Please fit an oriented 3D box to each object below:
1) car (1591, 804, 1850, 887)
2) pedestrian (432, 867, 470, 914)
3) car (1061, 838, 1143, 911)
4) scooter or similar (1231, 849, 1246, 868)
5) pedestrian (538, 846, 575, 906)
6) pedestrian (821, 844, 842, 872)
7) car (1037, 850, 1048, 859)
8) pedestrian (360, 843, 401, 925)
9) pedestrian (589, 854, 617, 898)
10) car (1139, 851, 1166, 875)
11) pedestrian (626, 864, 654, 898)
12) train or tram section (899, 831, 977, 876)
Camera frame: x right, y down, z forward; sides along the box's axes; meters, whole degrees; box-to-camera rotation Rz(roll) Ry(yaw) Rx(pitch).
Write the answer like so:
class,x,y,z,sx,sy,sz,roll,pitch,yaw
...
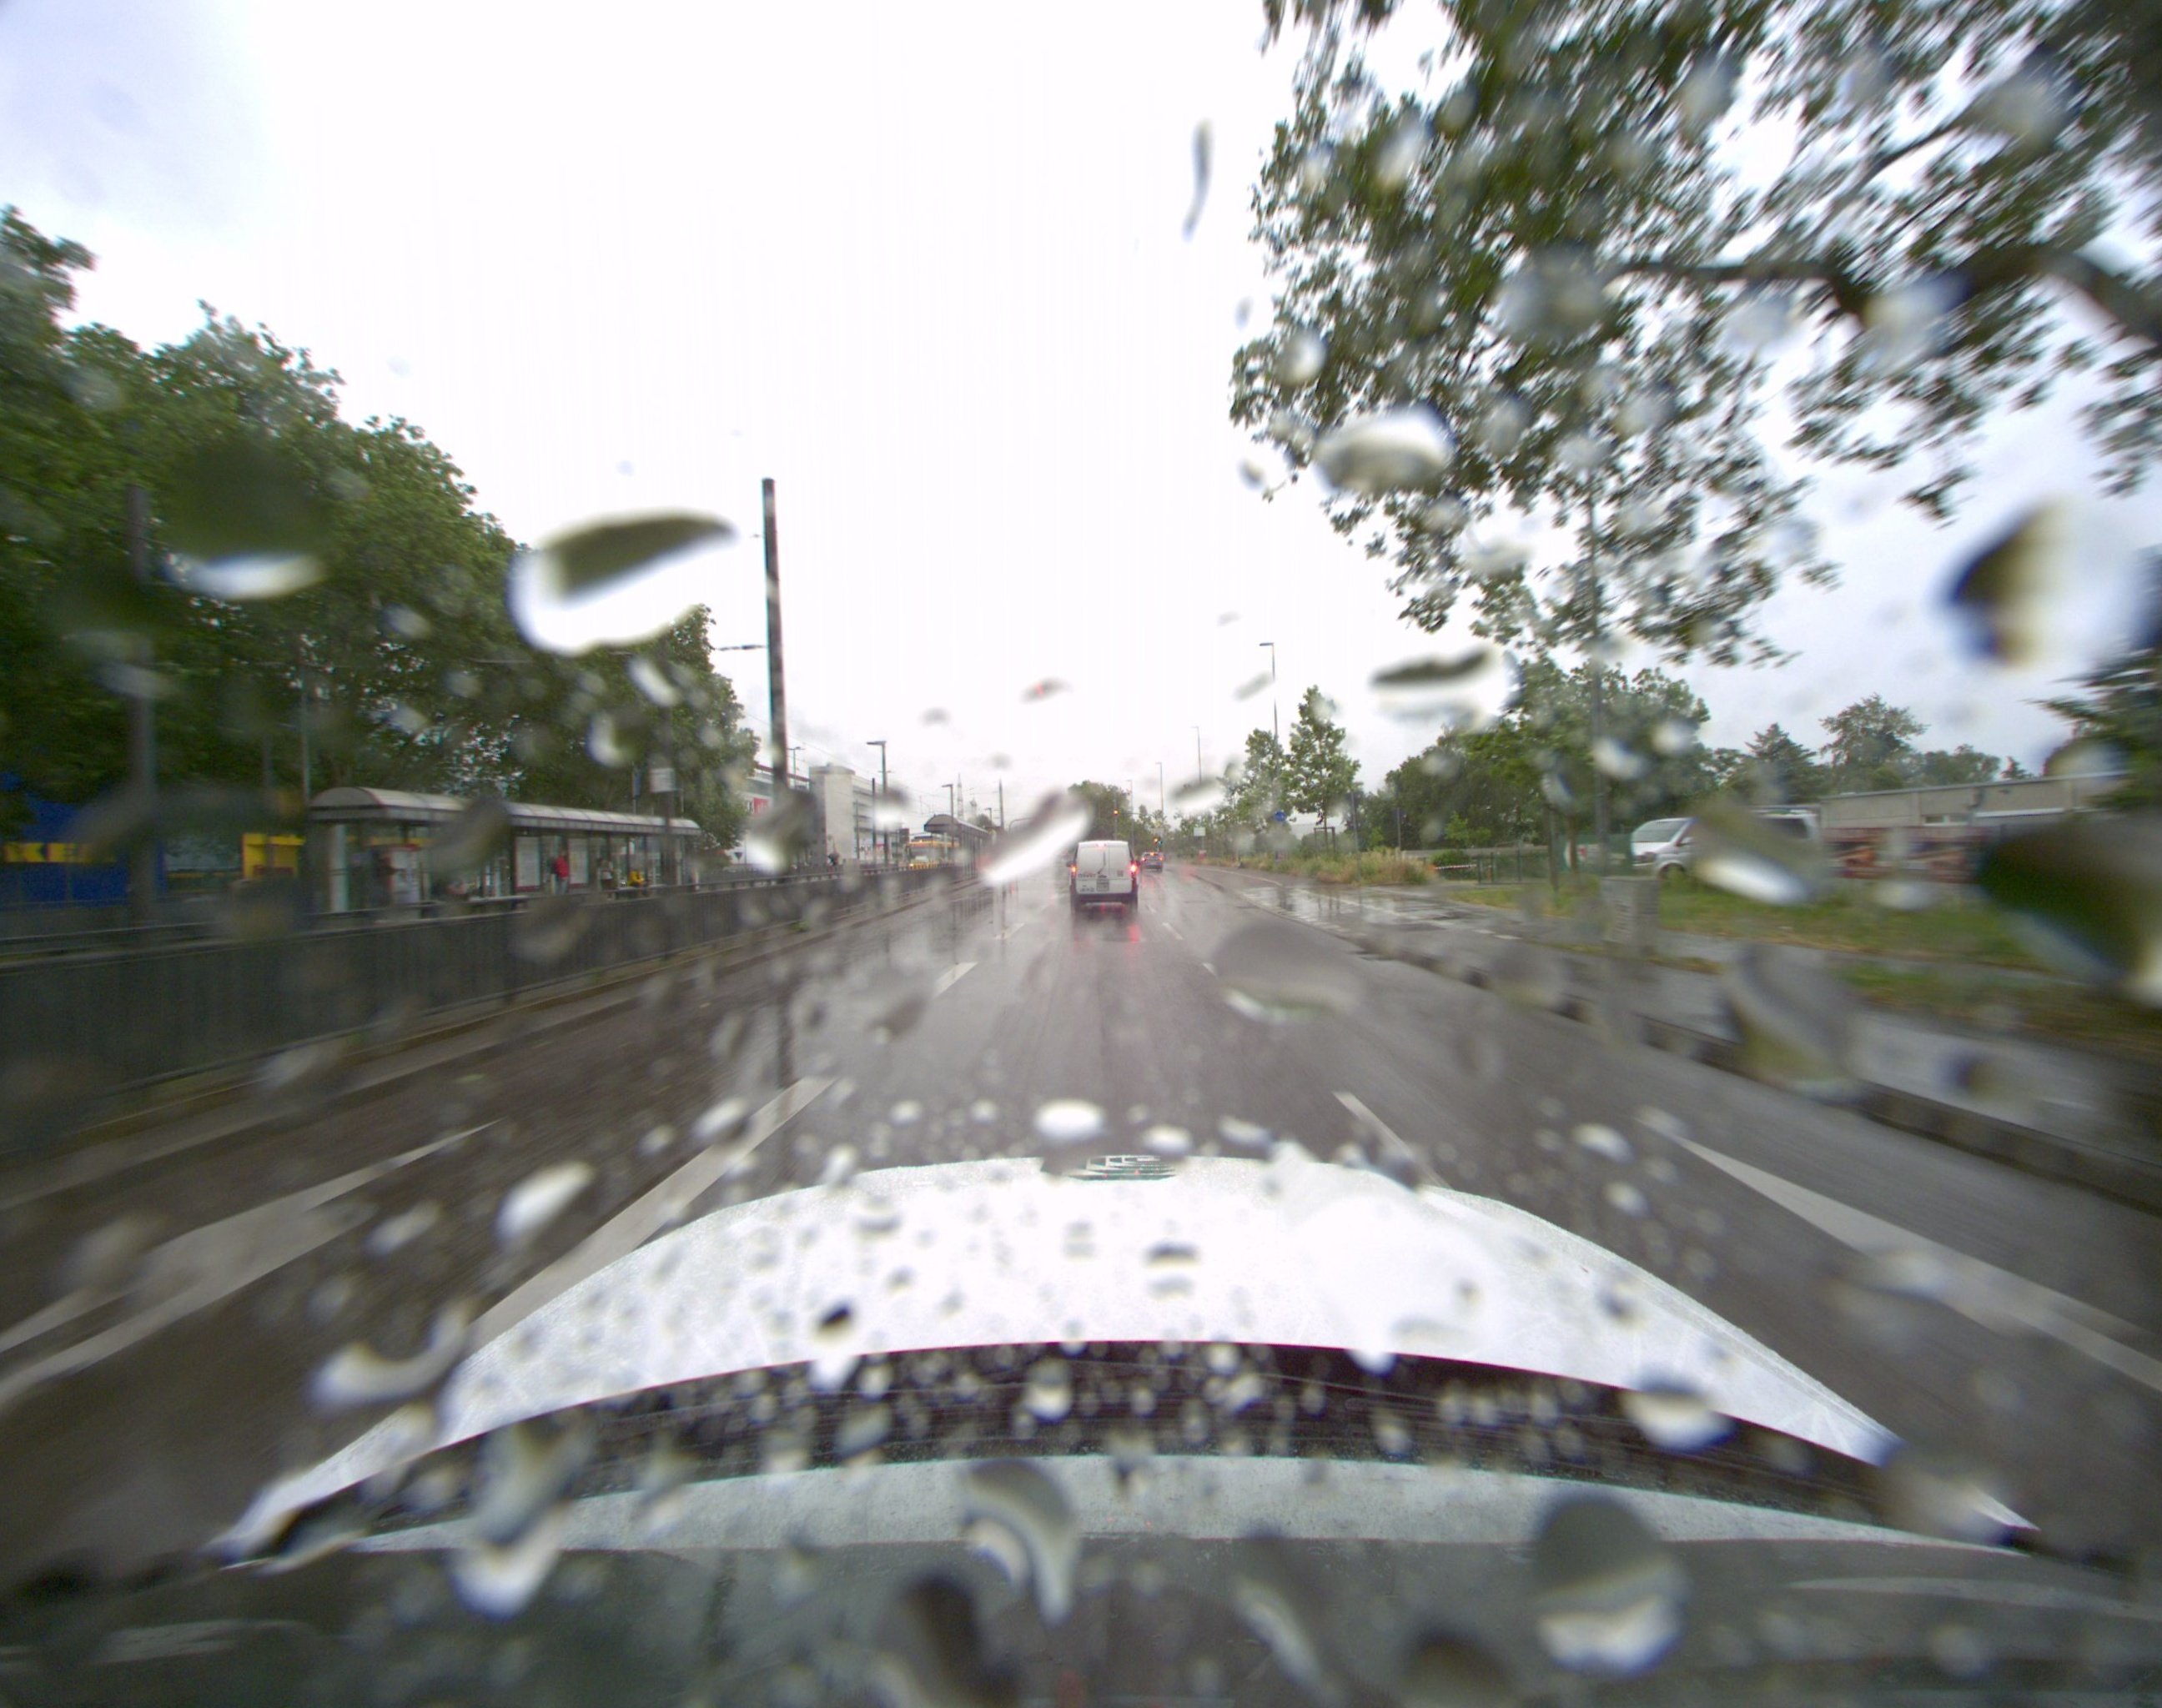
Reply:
class,x,y,z,sx,sy,sz,roll,pitch,yaw
car,16.337,-0.204,20.978,5.237,2.014,1.998,0,0,-3
pedestrian,-17.346,1.001,22.434,0.491,1.267,0.665,0,0,5
car,0.476,0.506,22.217,2.019,1.775,4.271,0,0,-1
scooter or similar,10.293,0.266,53.306,0.641,1.195,1.562,-2,0,-1
pedestrian,-17.142,0.709,26.636,0.618,1.933,0.815,0,0,5
pedestrian,-17.695,0.277,57.731,1.082,2.014,1.099,0,0,9
car,-7.859,0.097,164.754,1.990,1.750,3.993,0,0,-5
pedestrian,-17.361,0.731,20.189,0.491,2.014,0.583,0,0,1
pedestrian,-17.391,0.784,29.643,0.829,1.561,0.667,0,0,-26
car,5.484,0.674,62.748,1.985,1.750,4.003,0,0,3
pedestrian,-17.437,1.071,32.218,0.640,1.303,0.815,0,0,5
train or tram section,-14.378,-0.028,85.451,3.759,4.036,27.081,0,0,-1
